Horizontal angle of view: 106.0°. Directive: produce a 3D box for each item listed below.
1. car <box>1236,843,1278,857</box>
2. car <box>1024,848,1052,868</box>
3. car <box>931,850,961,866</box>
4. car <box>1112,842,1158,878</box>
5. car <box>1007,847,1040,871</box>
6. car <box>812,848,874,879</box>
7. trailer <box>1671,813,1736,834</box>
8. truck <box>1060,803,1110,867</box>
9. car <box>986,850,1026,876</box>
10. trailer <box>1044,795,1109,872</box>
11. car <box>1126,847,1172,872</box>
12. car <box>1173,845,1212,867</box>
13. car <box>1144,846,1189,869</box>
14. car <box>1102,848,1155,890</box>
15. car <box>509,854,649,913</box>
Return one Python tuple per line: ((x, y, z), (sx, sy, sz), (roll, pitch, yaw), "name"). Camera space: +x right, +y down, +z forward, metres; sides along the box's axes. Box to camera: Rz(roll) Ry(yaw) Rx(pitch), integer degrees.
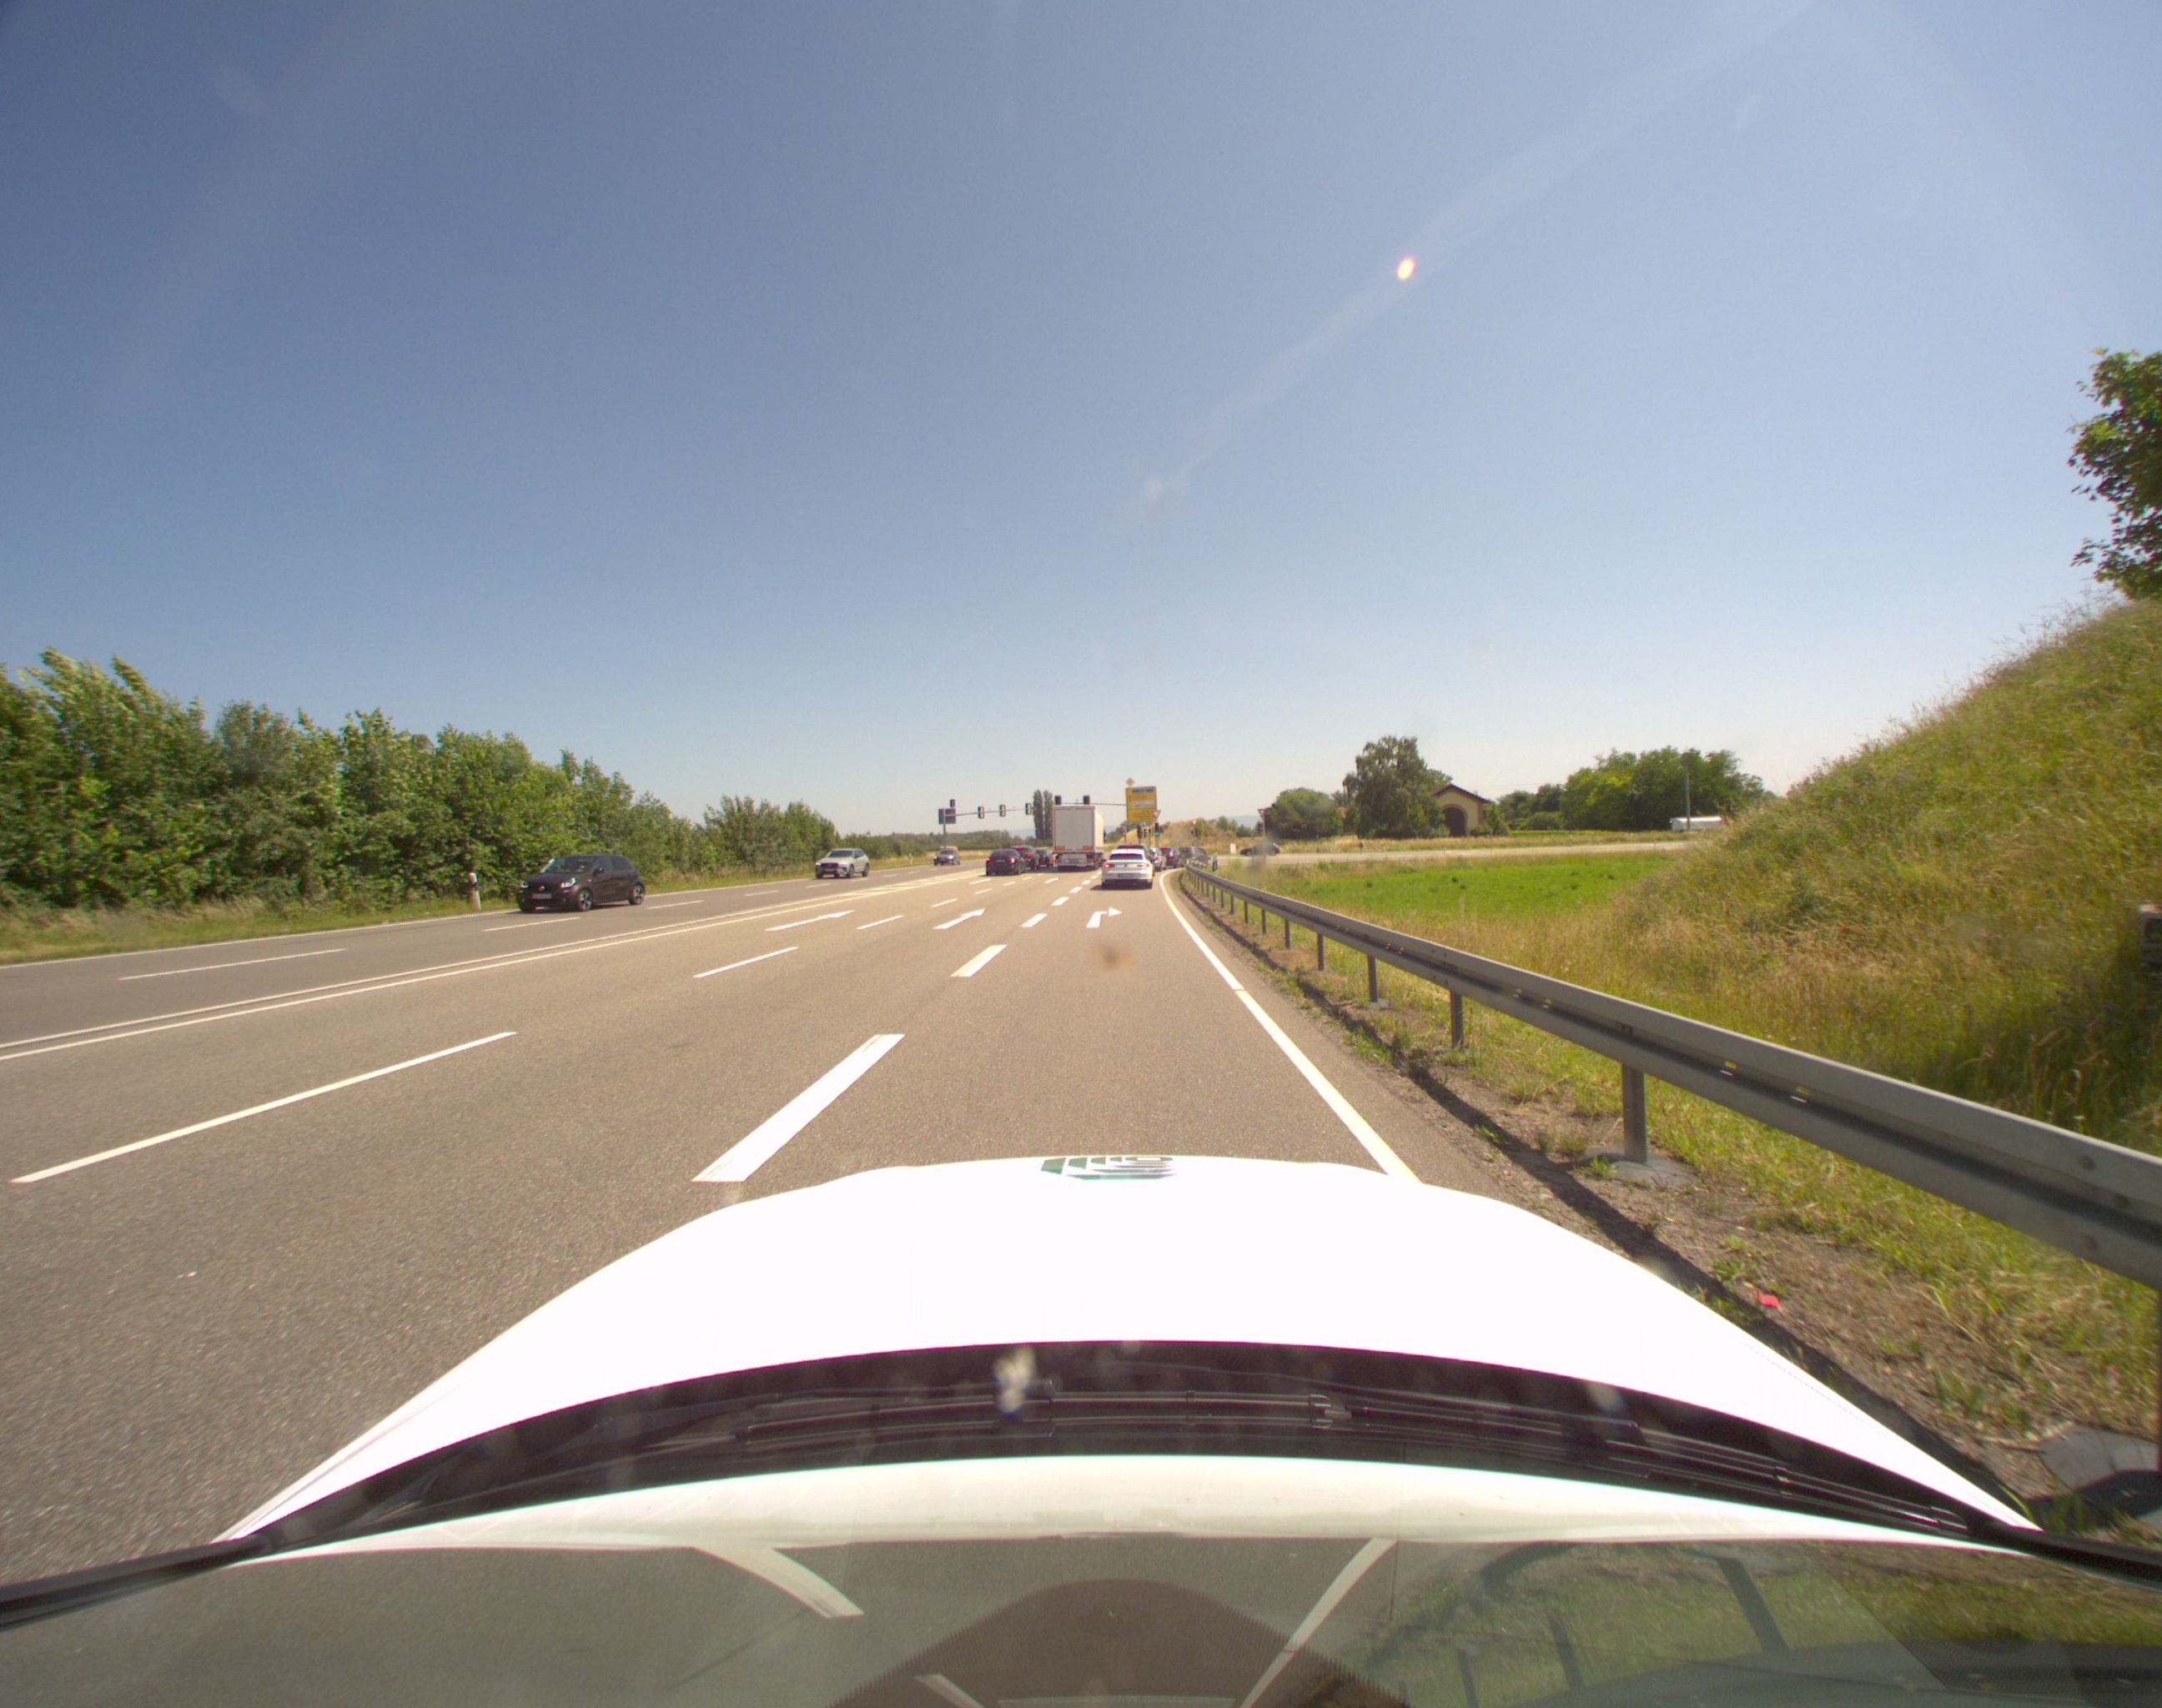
((19.136, -0.460, 88.675), (4.238, 1.368, 1.779), (-2, 1, 6), "car")
((-3.240, 0.290, 62.477), (1.802, 1.493, 4.023), (0, 0, 2), "car")
((-12.278, 0.373, 74.471), (1.871, 1.398, 4.532), (-1, 0, 1), "car")
((2.663, 0.273, 39.401), (1.924, 1.616, 4.387), (-1, 0, 7), "car")
((-3.796, 0.316, 54.356), (1.802, 1.493, 4.023), (0, 0, 2), "car")
((-13.221, 0.474, 45.490), (2.020, 1.639, 4.570), (0, 0, 1), "car")
((82.309, -3.990, 107.798), (6.326, 2.455, 2.693), (-2, 2, 8), "trailer")
((0.413, -1.367, 61.694), (3.366, 4.542, 6.379), (0, 0, 4), "truck")
((-4.208, 0.473, 46.247), (1.802, 1.398, 4.023), (0, 0, 2), "car")
((-0.081, -1.284, 54.707), (3.366, 4.542, 12.886), (0, 0, 4), "trailer")
((4.117, 0.324, 48.570), (1.785, 1.429, 4.112), (-1, 0, 19), "car")
((8.360, 0.133, 60.840), (1.783, 1.522, 3.905), (-1, 0, 25), "car")
((5.742, 0.212, 54.181), (1.784, 1.476, 4.438), (-1, 0, 22), "car")
((1.798, 0.502, 30.599), (1.840, 1.433, 4.613), (-1, 0, 4), "car")
((-13.817, 0.750, 22.657), (1.639, 1.487, 3.559), (0, 0, 1), "car")
